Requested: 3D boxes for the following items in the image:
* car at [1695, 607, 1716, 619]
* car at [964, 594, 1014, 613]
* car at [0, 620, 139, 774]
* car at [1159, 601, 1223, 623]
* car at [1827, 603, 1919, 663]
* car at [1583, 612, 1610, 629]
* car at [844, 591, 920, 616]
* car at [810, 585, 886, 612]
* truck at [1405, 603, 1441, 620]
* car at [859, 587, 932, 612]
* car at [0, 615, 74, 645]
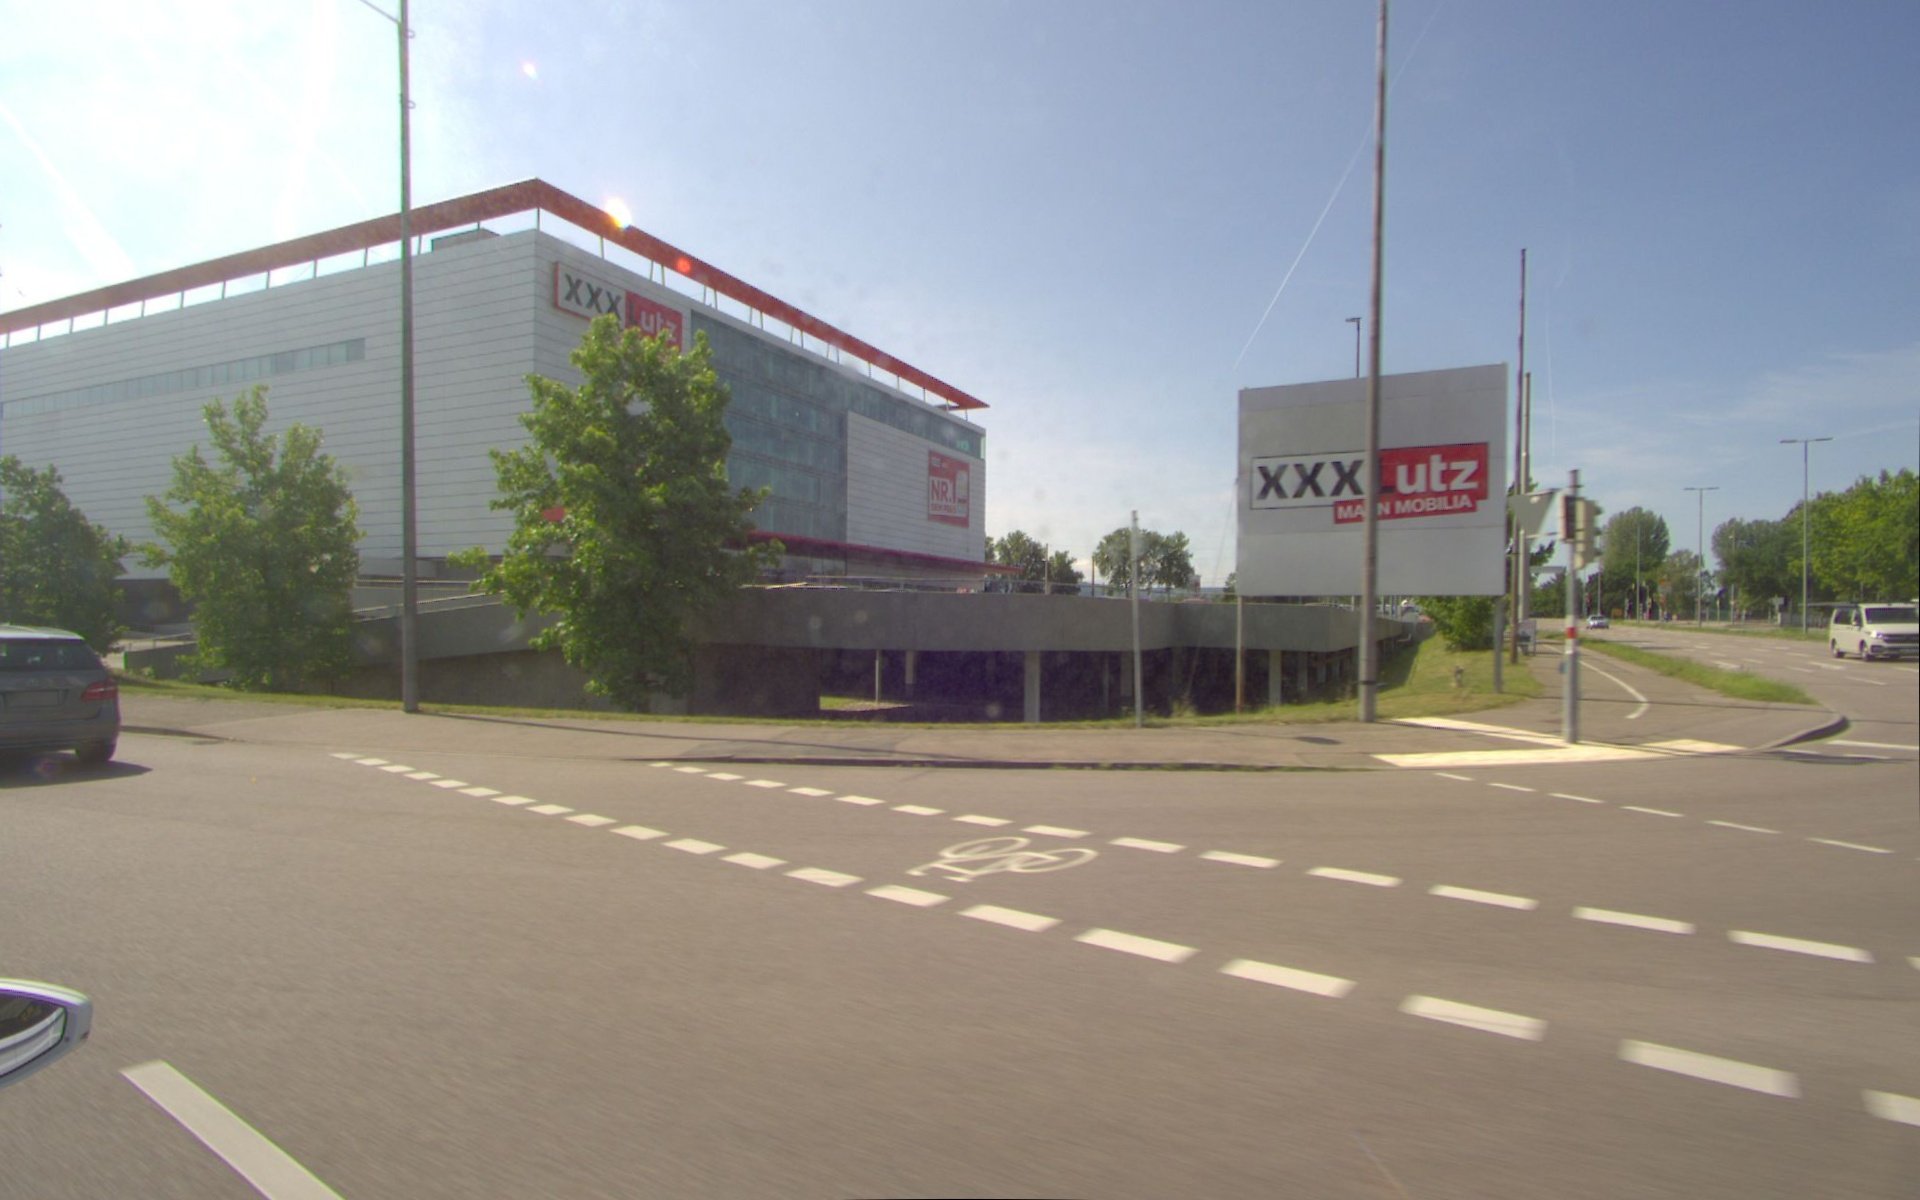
[{"bbox_3d":[103.838,1.830,139.484,1.615,1.555,3.903,0,-1,27],"label":"car"},{"bbox_3d":[2.544,0.295,88.231,4.133,1.641,1.684,0,-1,27],"label":"car"},{"bbox_3d":[-11.322,0.997,11.428,4.077,1.558,1.772,0,-2,32],"label":"car"},{"bbox_3d":[15.897,0.818,69.002,4.041,1.438,1.789,0,-1,24],"label":"car"},{"bbox_3d":[32.373,1.167,35.082,1.884,1.960,4.774,-1,-2,27],"label":"car"},{"bbox_3d":[67.521,2.172,106.282,1.853,1.706,3.986,0,1,25],"label":"car"},{"bbox_3d":[-4.639,0.212,59.404,4.133,1.438,1.832,0,-1,27],"label":"car"},{"bbox_3d":[-6.420,-0.070,57.211,3.941,1.438,1.800,0,-1,24],"label":"car"},{"bbox_3d":[85.270,2.168,184.562,5.877,3.064,1.996,-1,-4,23],"label":"truck"},{"bbox_3d":[-4.010,-0.021,62.206,4.133,1.438,1.872,0,-1,27],"label":"car"},{"bbox_3d":[-56.136,1.764,59.829,1.807,1.635,4.424,1,1,24],"label":"car"}]
